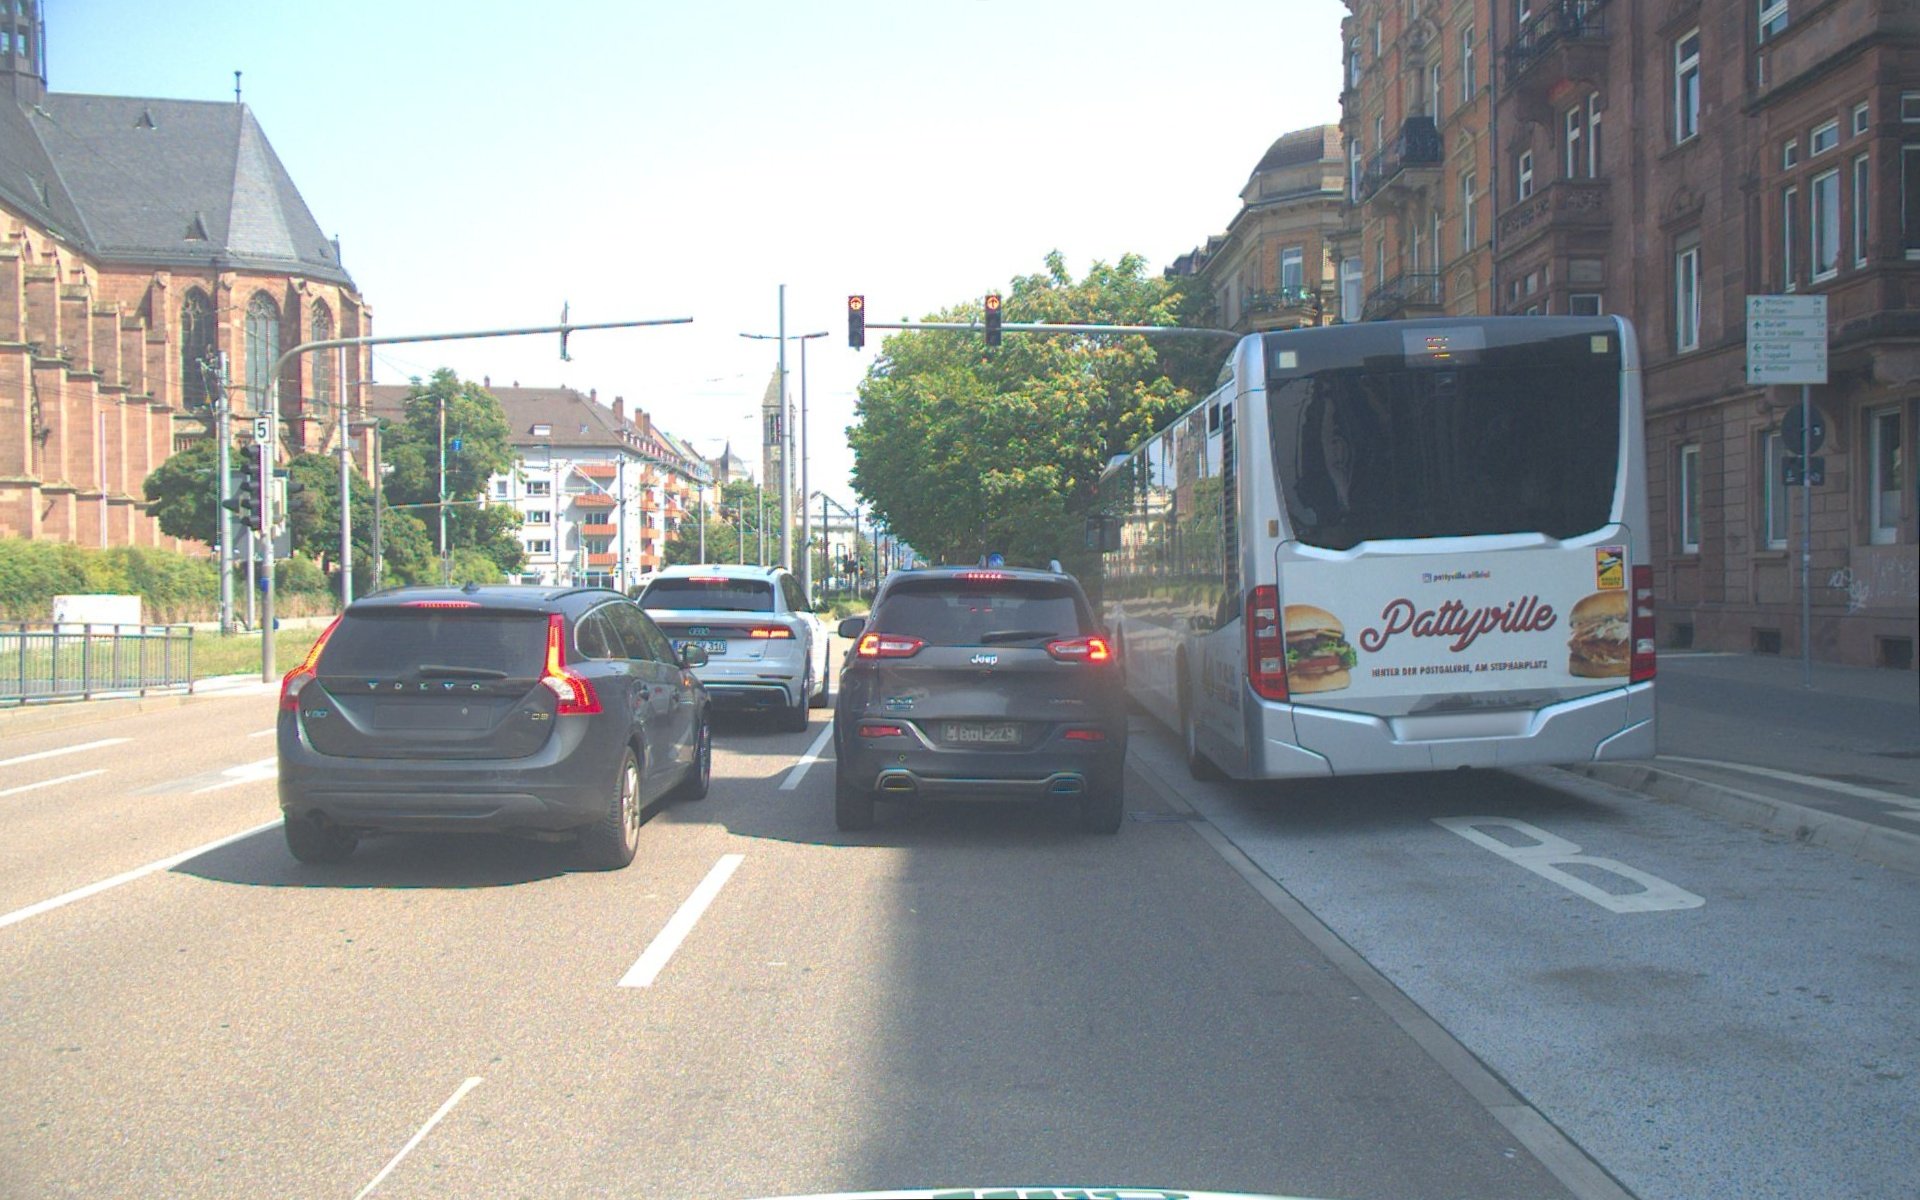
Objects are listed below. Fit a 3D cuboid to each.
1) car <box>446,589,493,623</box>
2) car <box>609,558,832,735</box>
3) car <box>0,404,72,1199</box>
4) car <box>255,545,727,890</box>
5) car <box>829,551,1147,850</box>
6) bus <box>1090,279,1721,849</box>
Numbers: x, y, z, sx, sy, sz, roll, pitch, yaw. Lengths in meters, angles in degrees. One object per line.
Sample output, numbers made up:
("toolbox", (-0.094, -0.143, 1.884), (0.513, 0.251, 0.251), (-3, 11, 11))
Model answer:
("car", (-23.290, 0.264, 78.652), (1.715, 1.460, 4.560), (-2, 1, -11))
("car", (-2.443, 0.416, 17.902), (1.864, 1.680, 4.307), (0, 1, -1))
("car", (-2.877, 0.522, 1.676), (1.712, 1.852, 4.239), (0, 0, -1))
("car", (-2.551, 0.546, 10.090), (1.712, 1.642, 4.307), (1, 1, -1))
("car", (0.159, 0.549, 11.565), (1.795, 1.680, 4.308), (1, 1, 0))
("bus", (3.062, -0.254, 15.602), (2.687, 3.161, 11.956), (-3, 0, 1))
